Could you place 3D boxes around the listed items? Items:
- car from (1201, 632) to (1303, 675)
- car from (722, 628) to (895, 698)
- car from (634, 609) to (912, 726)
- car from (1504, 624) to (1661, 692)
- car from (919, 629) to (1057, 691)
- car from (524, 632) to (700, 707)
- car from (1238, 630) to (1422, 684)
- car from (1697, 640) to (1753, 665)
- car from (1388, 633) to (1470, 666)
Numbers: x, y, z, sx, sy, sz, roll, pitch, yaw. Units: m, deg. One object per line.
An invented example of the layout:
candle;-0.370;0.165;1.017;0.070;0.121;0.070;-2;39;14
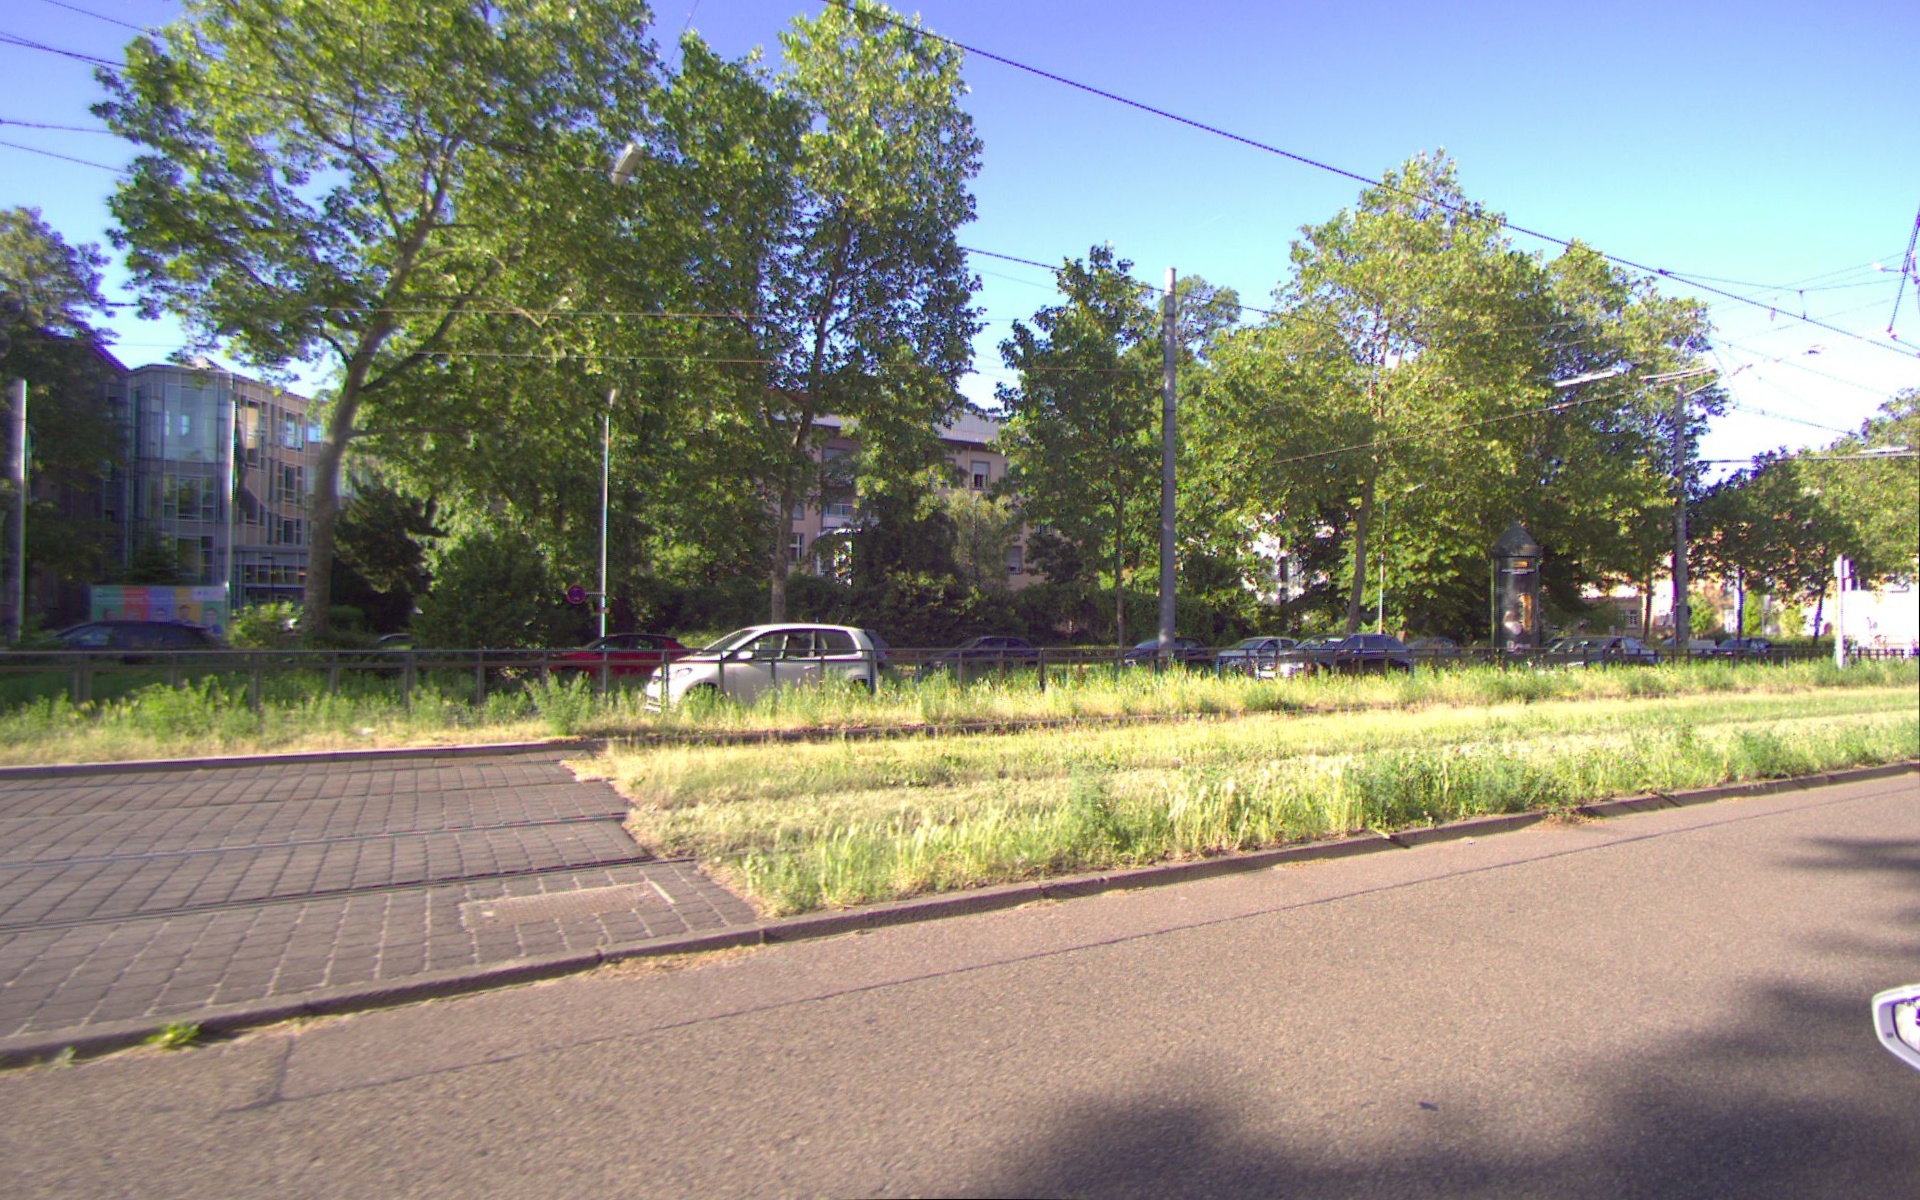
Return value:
car;10.537;1.912;36.194;3.460;1.330;1.561;-1;1;-29
car;-4.278;1.719;28.507;4.463;1.706;1.983;0;1;-32
car;-2.854;0.947;15.479;3.830;1.550;1.835;0;1;-31
car;16.366;1.464;26.384;3.997;1.573;1.786;0;1;-29
car;0.882;1.806;31.117;3.953;1.706;1.812;0;1;-30
car;-8.900;1.709;25.708;3.954;1.644;1.983;0;1;-31
car;9.335;1.379;25.260;4.647;1.150;1.683;0;1;-28
car;40.293;2.761;52.894;2.812;1.216;1.394;2;-1;-30
car;19.242;2.018;41.181;3.320;1.245;1.400;2;-1;-31
